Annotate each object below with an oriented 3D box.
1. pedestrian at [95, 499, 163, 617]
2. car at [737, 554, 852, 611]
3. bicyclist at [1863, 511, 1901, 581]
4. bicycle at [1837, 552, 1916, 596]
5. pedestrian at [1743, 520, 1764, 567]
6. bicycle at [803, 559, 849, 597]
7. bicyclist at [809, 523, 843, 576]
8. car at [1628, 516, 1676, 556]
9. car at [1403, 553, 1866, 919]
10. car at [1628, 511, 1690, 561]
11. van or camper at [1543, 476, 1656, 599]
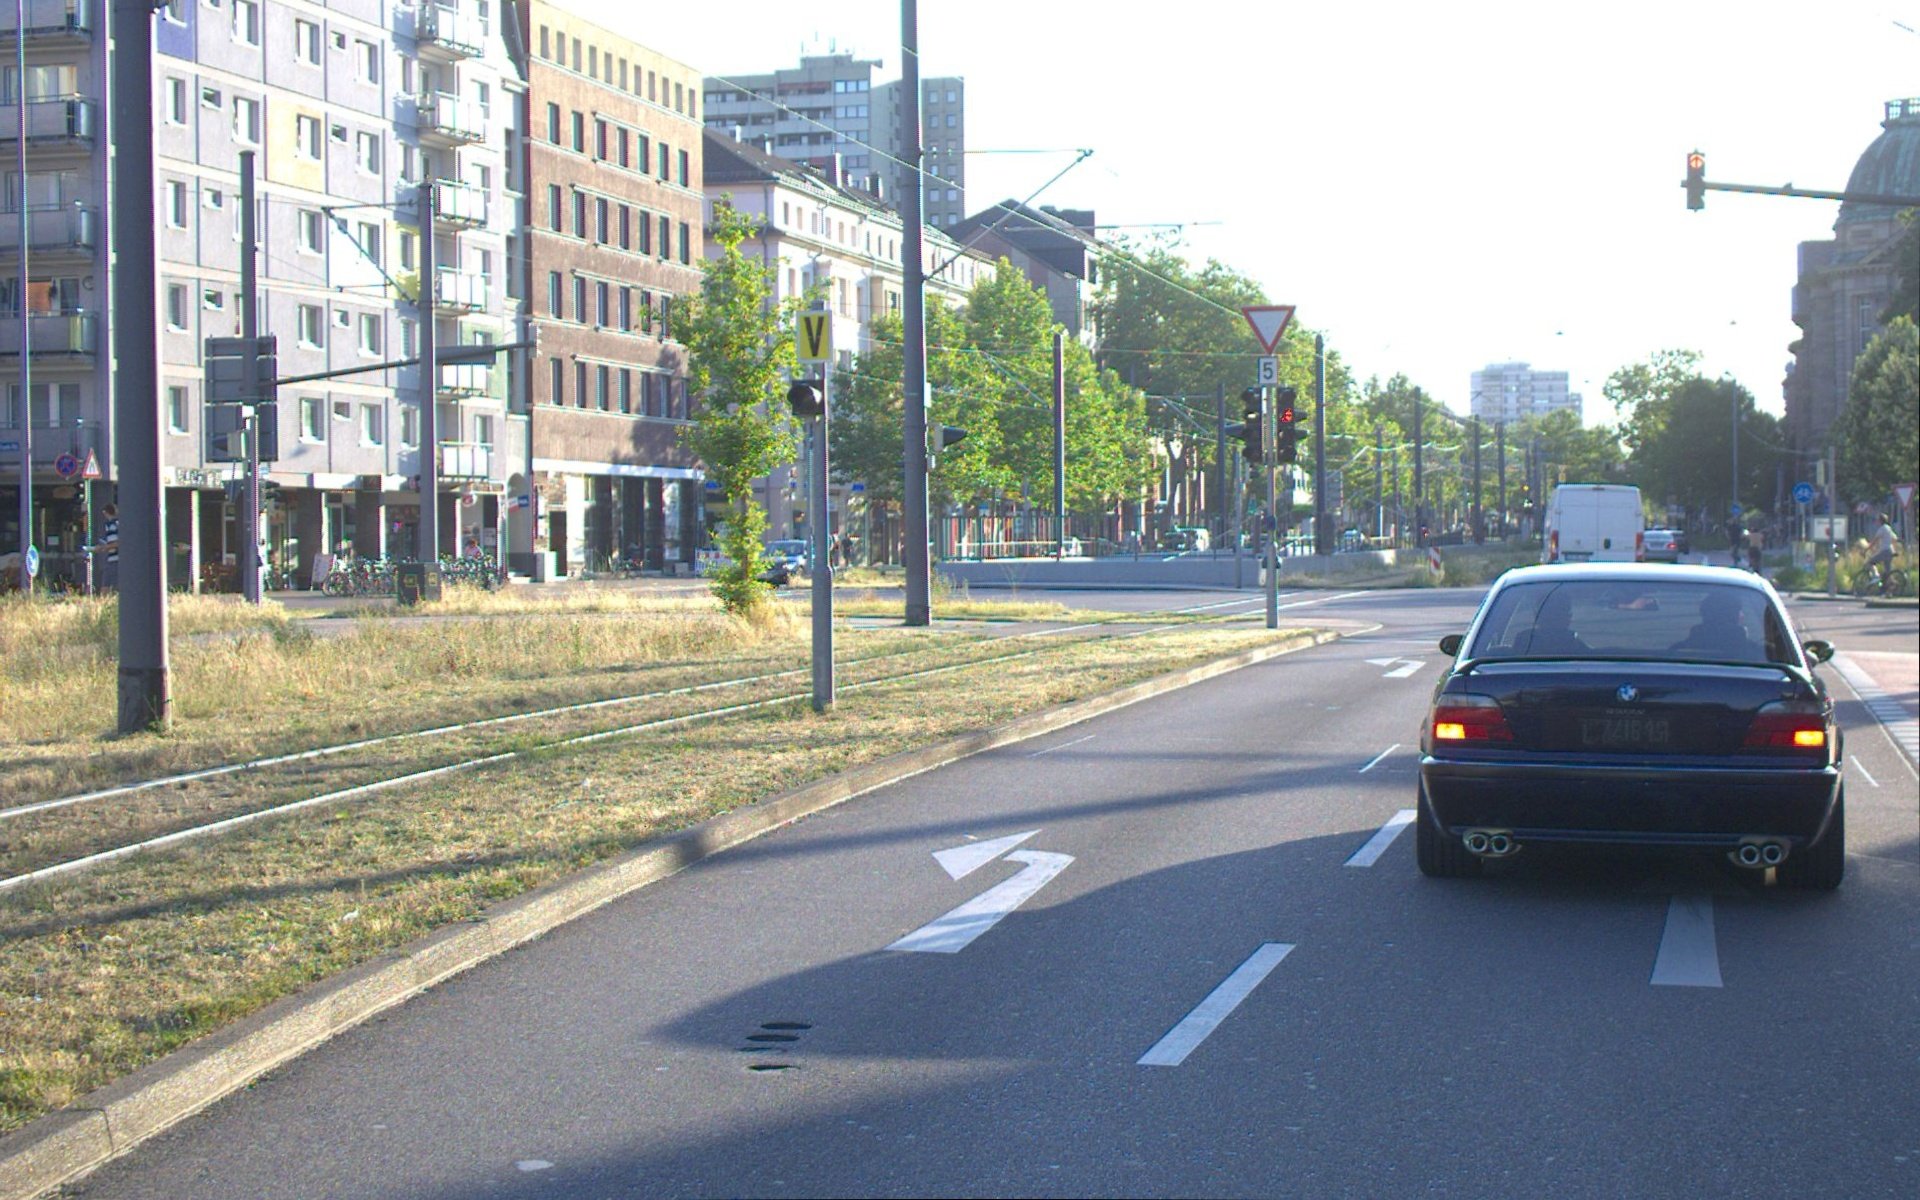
[{"bbox_3d":[-12.652,-0.644,52.341,0.721,1.756,0.649,1,3,34],"label":"pedestrian"},{"bbox_3d":[-4.712,-0.514,98.296,1.715,1.429,3.996,2,3,22],"label":"car"},{"bbox_3d":[21.118,-1.243,78.739,0.798,1.566,0.663,0,2,13],"label":"bicyclist"},{"bbox_3d":[21.001,-0.598,78.794,1.729,0.966,0.609,1,2,13],"label":"bicycle"},{"bbox_3d":[25.426,-1.809,110.168,0.617,1.470,0.799,0,2,17],"label":"pedestrian"},{"bbox_3d":[-3.760,-0.627,96.577,0.702,0.966,1.733,3,3,17],"label":"bicycle"},{"bbox_3d":[-3.769,-1.425,96.427,0.661,1.437,0.855,2,3,18],"label":"bicyclist"},{"bbox_3d":[29.224,-2.709,145.198,1.795,1.560,3.999,-1,2,9],"label":"car"},{"bbox_3d":[3.219,0.514,16.258,1.831,1.349,4.639,1,2,12],"label":"car"},{"bbox_3d":[21.295,-1.960,104.626,1.738,1.381,3.998,0,2,13],"label":"car"},{"bbox_3d":[14.310,-1.434,76.763,2.264,2.616,4.500,0,2,13],"label":"van or camper"}]
